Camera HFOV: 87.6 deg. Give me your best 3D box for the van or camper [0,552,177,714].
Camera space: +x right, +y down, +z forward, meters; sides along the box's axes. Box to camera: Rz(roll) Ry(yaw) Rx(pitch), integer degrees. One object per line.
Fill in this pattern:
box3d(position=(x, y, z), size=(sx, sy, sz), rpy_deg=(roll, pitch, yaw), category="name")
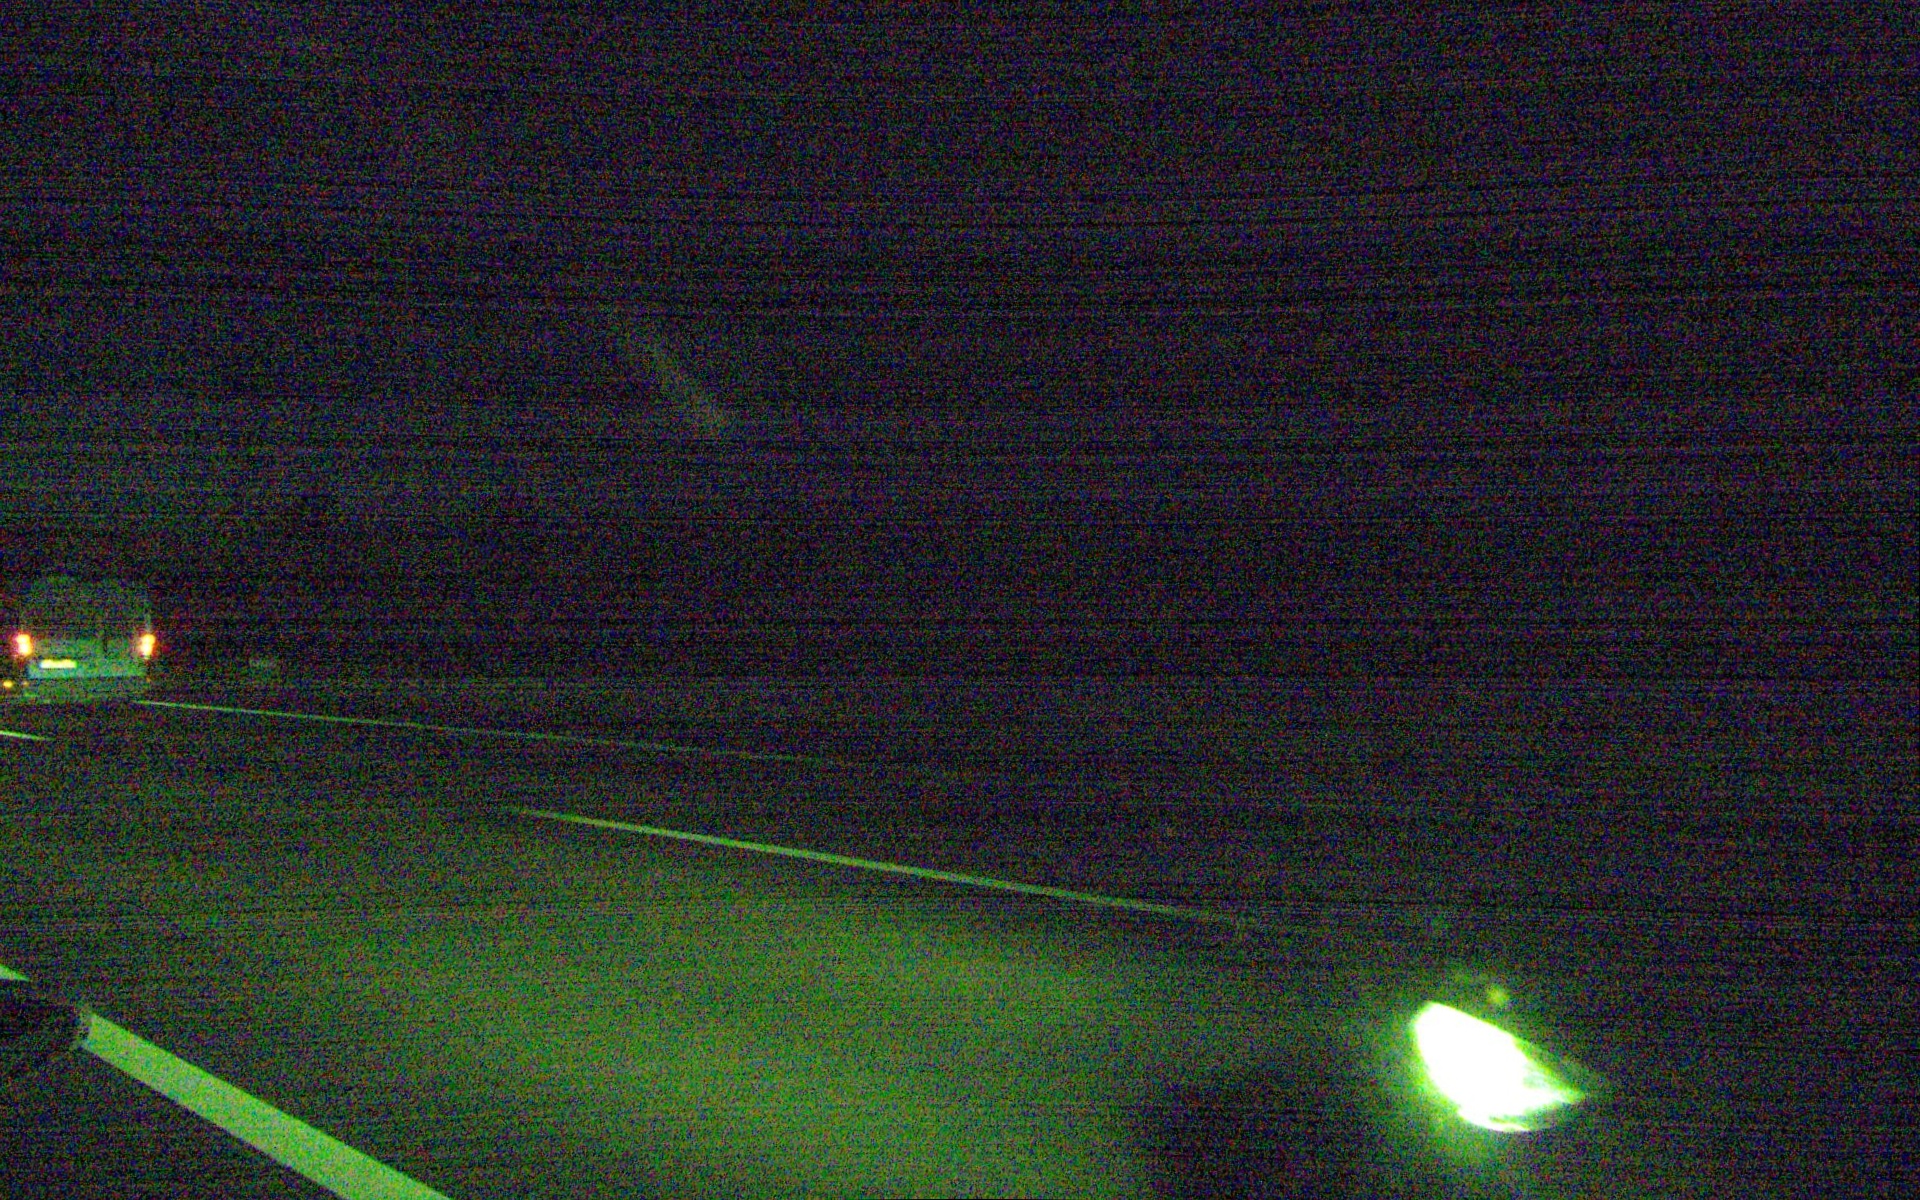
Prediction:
box3d(position=(-18.504, 0.642, 20.069), size=(6.705, 2.807, 2.204), rpy_deg=(-1, -1, 31), category="van or camper")
